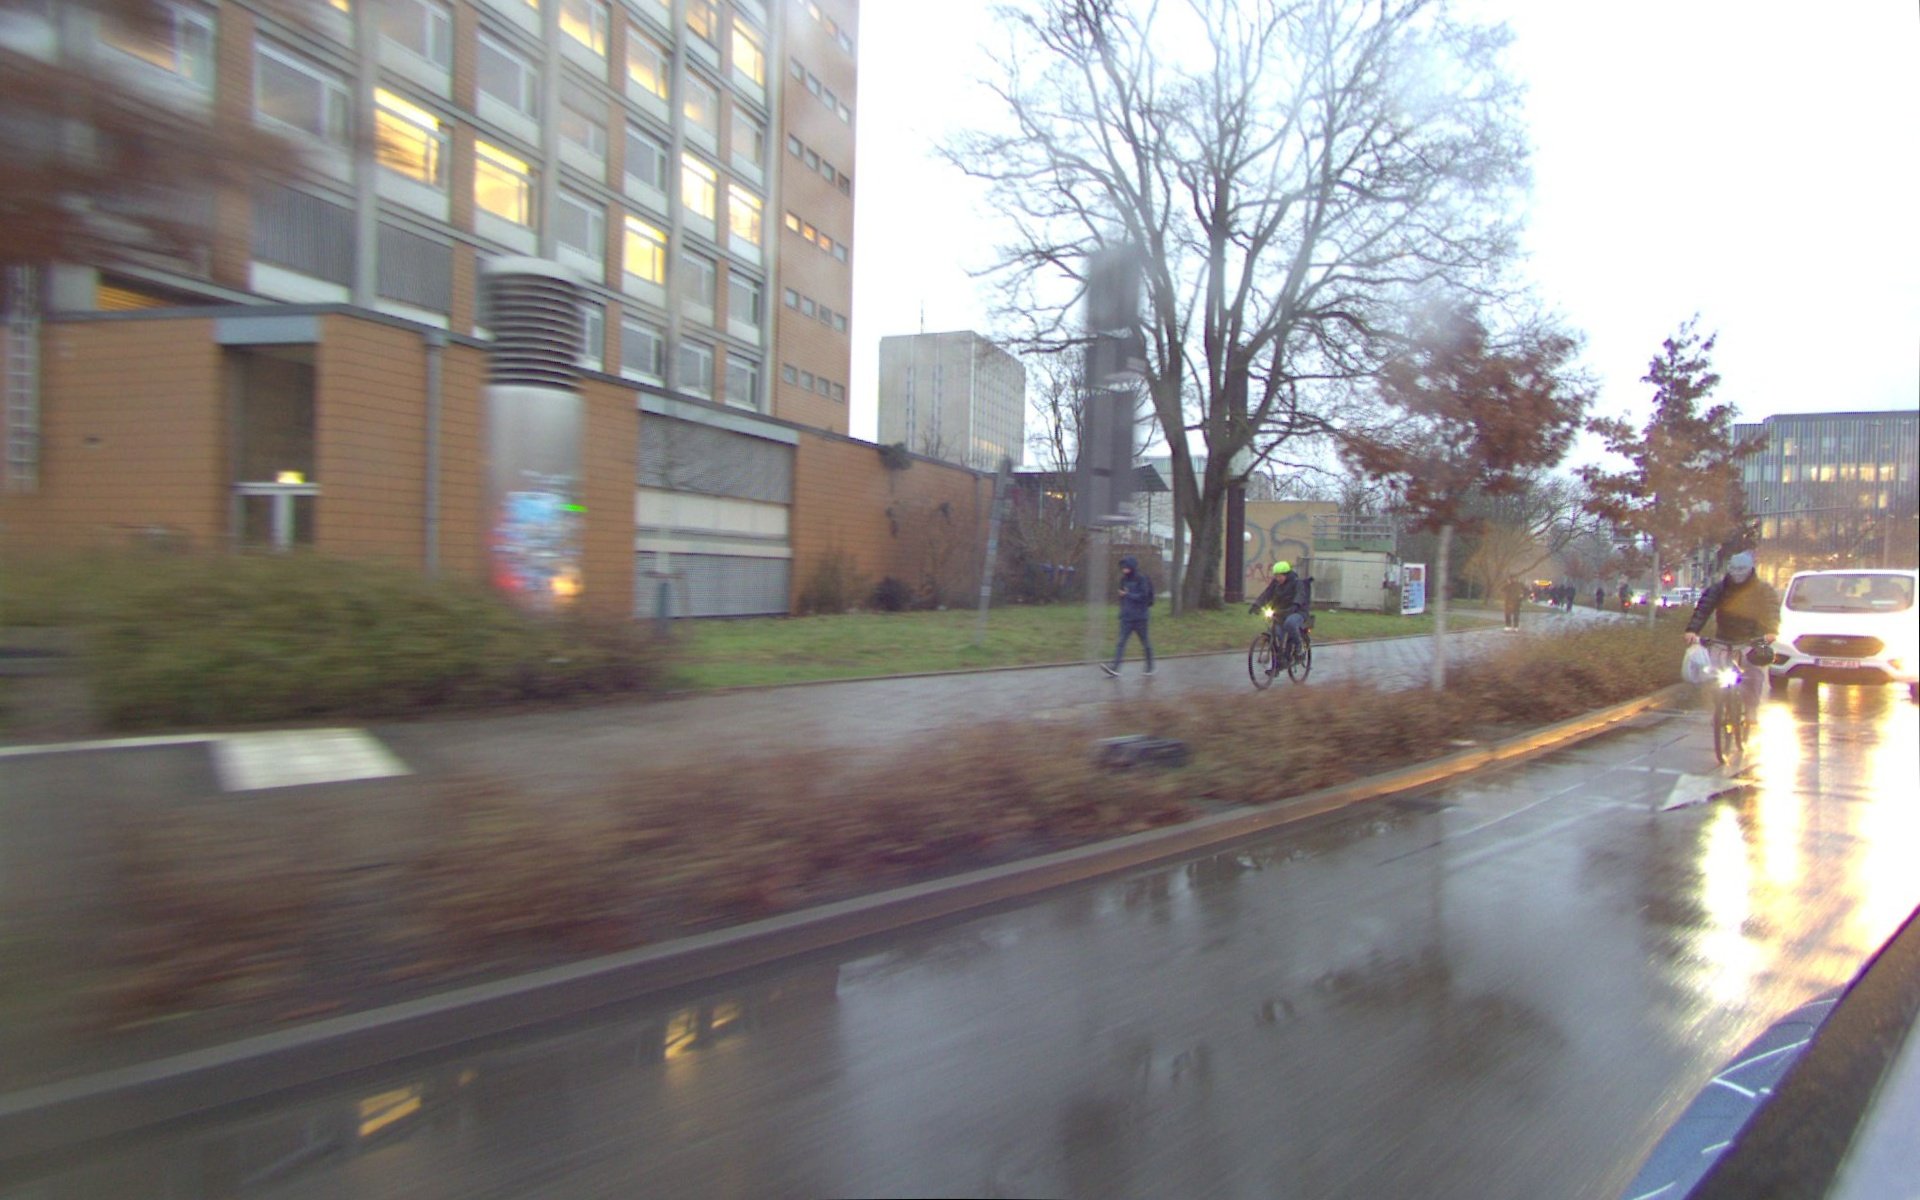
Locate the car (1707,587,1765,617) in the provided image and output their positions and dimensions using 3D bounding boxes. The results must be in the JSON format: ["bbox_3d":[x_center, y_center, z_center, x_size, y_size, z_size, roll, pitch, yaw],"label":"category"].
[{"bbox_3d":[44.012,0.068,57.508,1.758,1.505,4.429,3,2,27],"label":"car"}]

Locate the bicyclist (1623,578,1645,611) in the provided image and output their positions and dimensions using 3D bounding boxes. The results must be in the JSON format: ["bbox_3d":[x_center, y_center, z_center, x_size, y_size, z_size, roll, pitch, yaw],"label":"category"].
[{"bbox_3d":[34.956,-0.304,52.468,0.802,1.637,1.072,6,4,36],"label":"bicyclist"}]

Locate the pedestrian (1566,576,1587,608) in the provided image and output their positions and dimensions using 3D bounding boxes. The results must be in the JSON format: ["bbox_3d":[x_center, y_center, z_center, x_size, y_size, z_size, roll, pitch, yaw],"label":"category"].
[{"bbox_3d":[36.646,-0.471,60.177,0.925,1.848,0.826,3,2,27],"label":"pedestrian"}]

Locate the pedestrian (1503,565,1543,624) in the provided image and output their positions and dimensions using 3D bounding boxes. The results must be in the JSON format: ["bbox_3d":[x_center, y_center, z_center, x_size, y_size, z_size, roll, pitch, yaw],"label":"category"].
[{"bbox_3d":[16.943,-0.160,30.467,0.906,1.708,0.916,4,1,34],"label":"pedestrian"}]

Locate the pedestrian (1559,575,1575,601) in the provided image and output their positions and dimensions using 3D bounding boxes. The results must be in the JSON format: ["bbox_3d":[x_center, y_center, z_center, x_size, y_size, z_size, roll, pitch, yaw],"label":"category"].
[{"bbox_3d":[44.024,-0.879,73.406,0.925,1.848,0.826,3,2,27],"label":"pedestrian"}]

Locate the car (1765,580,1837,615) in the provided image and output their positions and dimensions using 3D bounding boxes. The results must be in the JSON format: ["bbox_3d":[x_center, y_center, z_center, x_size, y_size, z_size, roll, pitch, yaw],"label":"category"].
[{"bbox_3d":[46.898,-0.180,56.526,1.981,1.771,4.900,3,2,27],"label":"car"}]

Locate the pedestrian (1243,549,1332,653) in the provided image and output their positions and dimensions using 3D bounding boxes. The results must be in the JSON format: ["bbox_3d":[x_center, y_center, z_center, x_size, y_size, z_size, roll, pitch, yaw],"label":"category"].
[{"bbox_3d":[4.446,-0.007,13.725,0.873,1.333,0.836,3,2,40],"label":"pedestrian"}]

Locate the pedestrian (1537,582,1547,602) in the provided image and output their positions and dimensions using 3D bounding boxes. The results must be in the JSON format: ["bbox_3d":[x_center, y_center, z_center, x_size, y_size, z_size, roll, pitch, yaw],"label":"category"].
[{"bbox_3d":[58.492,-0.809,101.659,0.758,2.038,0.766,2,2,26],"label":"pedestrian"}]

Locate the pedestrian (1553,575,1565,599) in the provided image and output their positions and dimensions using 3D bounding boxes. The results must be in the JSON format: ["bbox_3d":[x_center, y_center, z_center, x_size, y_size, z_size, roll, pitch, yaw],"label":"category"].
[{"bbox_3d":[50.830,-1.114,85.891,0.758,2.038,0.902,2,2,26],"label":"pedestrian"}]

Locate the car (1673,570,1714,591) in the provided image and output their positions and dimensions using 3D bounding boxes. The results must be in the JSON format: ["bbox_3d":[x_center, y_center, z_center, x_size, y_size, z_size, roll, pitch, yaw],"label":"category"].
[{"bbox_3d":[61.119,-1.661,84.406,1.981,1.586,4.718,4,3,27],"label":"car"}]

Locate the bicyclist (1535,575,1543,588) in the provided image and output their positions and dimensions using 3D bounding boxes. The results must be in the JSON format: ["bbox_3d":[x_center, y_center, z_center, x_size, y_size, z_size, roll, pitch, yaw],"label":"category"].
[{"bbox_3d":[70.221,-2.266,122.775,0.760,1.508,0.985,2,2,28],"label":"bicyclist"}]

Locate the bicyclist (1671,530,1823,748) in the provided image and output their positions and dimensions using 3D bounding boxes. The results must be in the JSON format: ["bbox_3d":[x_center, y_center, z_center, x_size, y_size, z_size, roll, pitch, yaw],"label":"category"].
[{"bbox_3d":[7.517,0.330,9.656,1.024,1.907,1.216,0,0,44],"label":"bicyclist"}]

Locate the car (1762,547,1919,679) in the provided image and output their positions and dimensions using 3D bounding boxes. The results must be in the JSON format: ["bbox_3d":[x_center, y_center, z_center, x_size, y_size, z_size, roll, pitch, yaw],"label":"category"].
[{"bbox_3d":[15.403,0.248,17.132,4.931,1.945,2.134,3,0,-43],"label":"car"}]

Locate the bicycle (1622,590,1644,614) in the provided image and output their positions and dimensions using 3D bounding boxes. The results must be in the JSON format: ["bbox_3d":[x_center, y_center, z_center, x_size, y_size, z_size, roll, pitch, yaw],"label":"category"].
[{"bbox_3d":[34.902,0.095,52.466,0.802,1.155,2.185,6,4,35],"label":"bicycle"}]

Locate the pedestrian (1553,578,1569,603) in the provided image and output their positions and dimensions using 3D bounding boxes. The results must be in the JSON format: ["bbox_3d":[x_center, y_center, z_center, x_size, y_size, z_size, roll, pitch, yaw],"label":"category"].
[{"bbox_3d":[46.791,-0.735,78.785,0.925,1.848,0.826,3,2,27],"label":"pedestrian"}]

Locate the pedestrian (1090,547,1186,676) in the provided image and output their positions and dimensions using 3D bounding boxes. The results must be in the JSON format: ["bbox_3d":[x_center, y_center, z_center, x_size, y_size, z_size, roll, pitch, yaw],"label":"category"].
[{"bbox_3d":[2.509,0.140,14.247,0.808,1.708,1.053,4,3,44],"label":"pedestrian"}]

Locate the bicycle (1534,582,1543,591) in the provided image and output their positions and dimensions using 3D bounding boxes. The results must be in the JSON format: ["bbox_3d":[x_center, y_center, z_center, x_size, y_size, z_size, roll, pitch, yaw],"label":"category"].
[{"bbox_3d":[70.175,-1.637,122.734,0.787,1.028,2.876,2,3,27],"label":"bicycle"}]

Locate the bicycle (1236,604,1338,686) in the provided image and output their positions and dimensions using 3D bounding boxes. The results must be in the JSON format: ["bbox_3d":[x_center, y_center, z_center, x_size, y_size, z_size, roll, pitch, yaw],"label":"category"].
[{"bbox_3d":[4.469,0.574,13.752,0.561,0.958,2.065,3,3,40],"label":"bicycle"}]

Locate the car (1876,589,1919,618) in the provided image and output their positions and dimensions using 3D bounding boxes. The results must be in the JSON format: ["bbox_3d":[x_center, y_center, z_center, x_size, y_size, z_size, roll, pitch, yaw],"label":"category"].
[{"bbox_3d":[50.523,0.175,53.496,1.914,1.393,4.457,3,2,27],"label":"car"}]

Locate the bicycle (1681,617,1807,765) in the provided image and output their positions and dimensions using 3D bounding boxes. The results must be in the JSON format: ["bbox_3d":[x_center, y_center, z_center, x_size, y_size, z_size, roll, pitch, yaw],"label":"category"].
[{"bbox_3d":[7.558,0.802,9.720,0.792,1.238,1.874,0,0,43],"label":"bicycle"}]
